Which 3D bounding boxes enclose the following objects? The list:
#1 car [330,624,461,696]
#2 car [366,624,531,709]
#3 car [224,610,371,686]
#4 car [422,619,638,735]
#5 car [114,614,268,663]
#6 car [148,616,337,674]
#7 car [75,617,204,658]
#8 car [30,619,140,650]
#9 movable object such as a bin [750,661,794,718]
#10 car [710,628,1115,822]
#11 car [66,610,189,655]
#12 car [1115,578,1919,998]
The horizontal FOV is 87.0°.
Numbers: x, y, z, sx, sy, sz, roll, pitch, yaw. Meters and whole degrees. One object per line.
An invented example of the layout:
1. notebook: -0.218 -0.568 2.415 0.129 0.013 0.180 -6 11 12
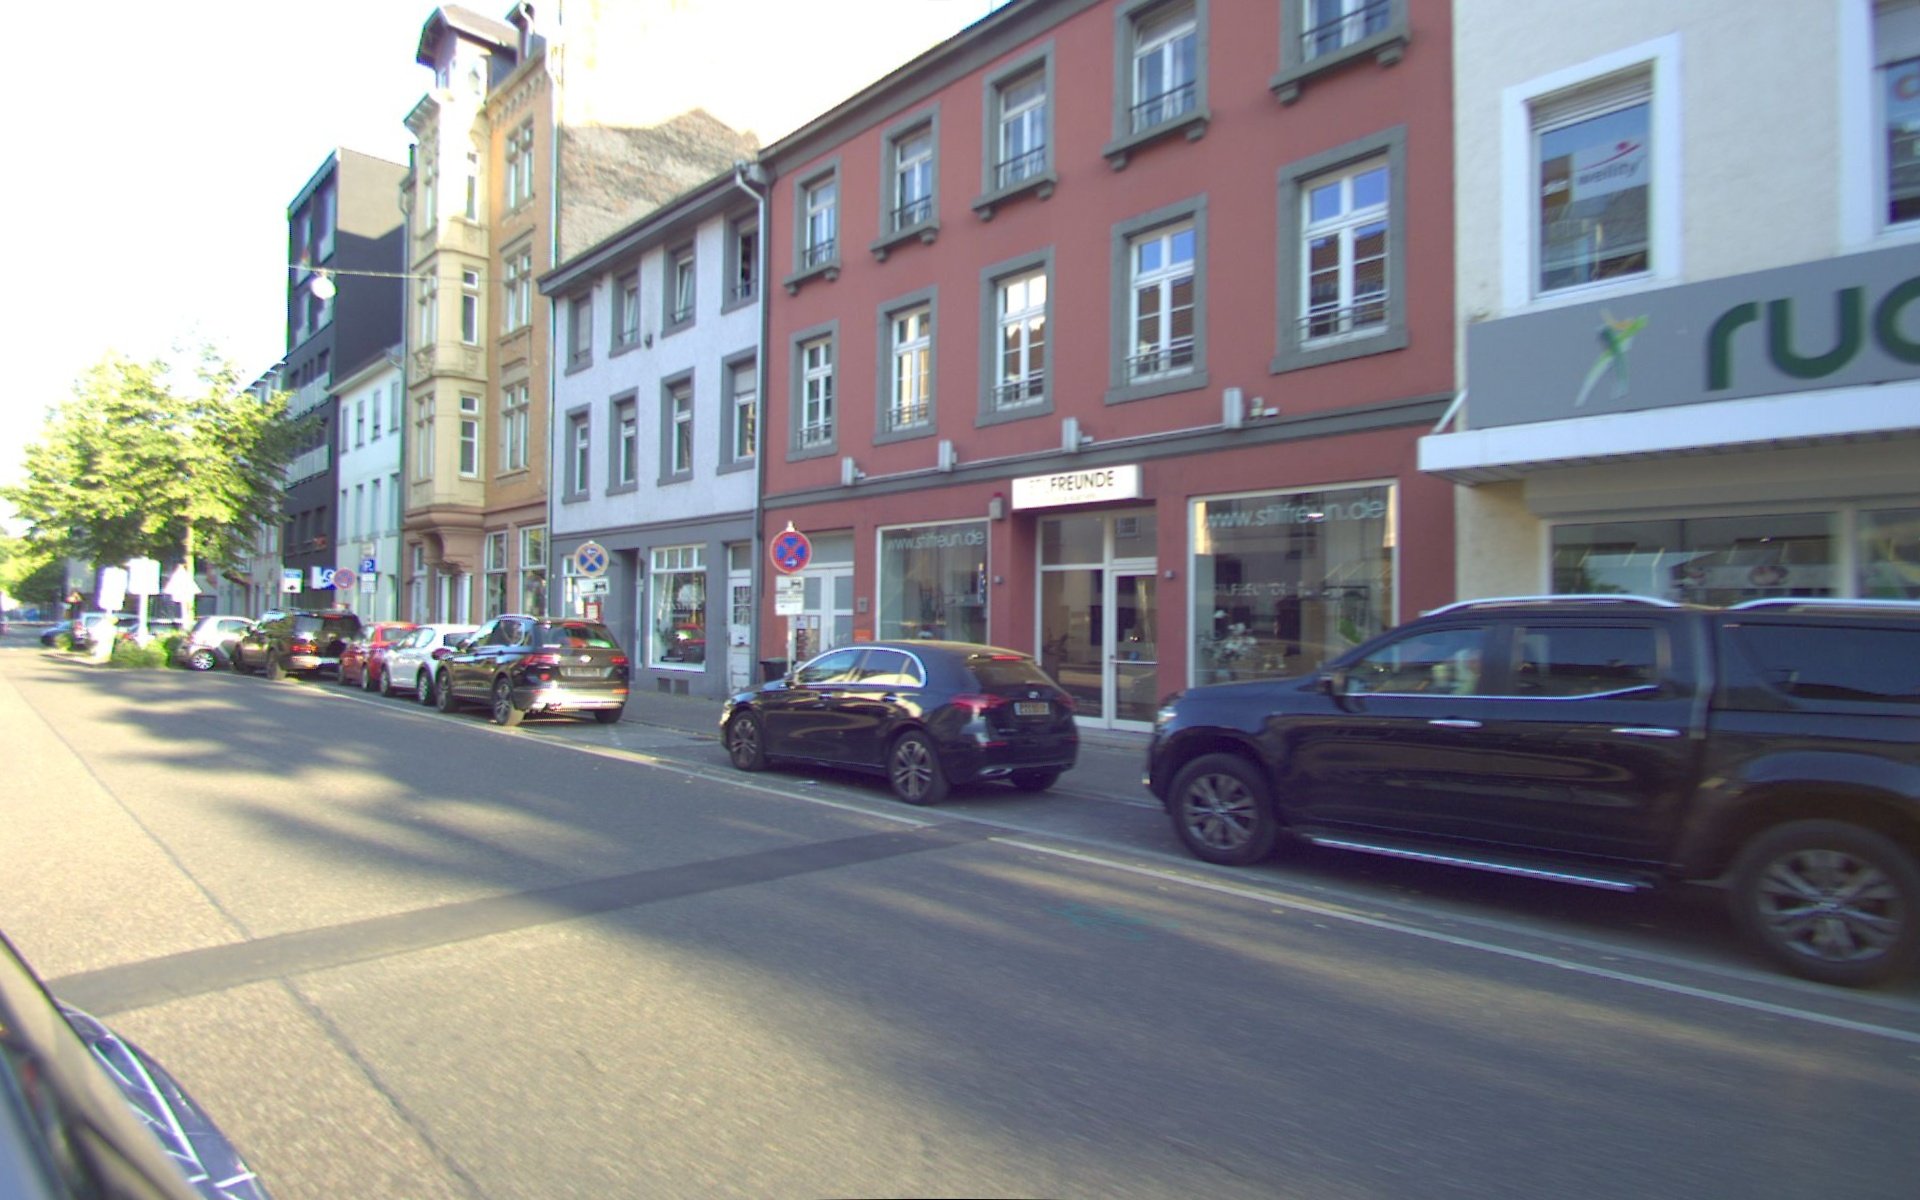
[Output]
1. car: -12.686 1.298 22.663 1.665 1.475 3.544 3 -3 -44
2. car: -10.019 1.229 19.693 1.745 1.475 3.870 3 -3 -44
3. car: -16.737 1.171 25.511 4.216 1.766 2.028 -1 -3 42
4. car: -7.008 1.140 16.283 1.745 1.626 4.220 3 -3 -44
5. car: -26.512 1.353 34.974 1.958 1.593 3.860 -1 -3 40
6. car: -21.057 1.322 29.837 2.055 1.593 4.138 -1 -3 40
7. car: -35.831 1.653 44.266 1.996 1.689 4.077 -1 -3 41
8. car: -48.412 1.933 56.081 2.046 1.640 4.155 0 -2 27
9. movable object such as a bin: -3.221 1.518 17.317 0.583 0.923 0.485 -1 -2 41
10. car: -0.655 1.085 10.284 1.745 1.522 4.220 3 -3 -44
11. car: -39.413 1.561 47.963 2.055 1.998 4.138 -1 -3 40
12. car: 3.696 0.856 6.073 5.300 1.783 1.971 -1 -3 43
